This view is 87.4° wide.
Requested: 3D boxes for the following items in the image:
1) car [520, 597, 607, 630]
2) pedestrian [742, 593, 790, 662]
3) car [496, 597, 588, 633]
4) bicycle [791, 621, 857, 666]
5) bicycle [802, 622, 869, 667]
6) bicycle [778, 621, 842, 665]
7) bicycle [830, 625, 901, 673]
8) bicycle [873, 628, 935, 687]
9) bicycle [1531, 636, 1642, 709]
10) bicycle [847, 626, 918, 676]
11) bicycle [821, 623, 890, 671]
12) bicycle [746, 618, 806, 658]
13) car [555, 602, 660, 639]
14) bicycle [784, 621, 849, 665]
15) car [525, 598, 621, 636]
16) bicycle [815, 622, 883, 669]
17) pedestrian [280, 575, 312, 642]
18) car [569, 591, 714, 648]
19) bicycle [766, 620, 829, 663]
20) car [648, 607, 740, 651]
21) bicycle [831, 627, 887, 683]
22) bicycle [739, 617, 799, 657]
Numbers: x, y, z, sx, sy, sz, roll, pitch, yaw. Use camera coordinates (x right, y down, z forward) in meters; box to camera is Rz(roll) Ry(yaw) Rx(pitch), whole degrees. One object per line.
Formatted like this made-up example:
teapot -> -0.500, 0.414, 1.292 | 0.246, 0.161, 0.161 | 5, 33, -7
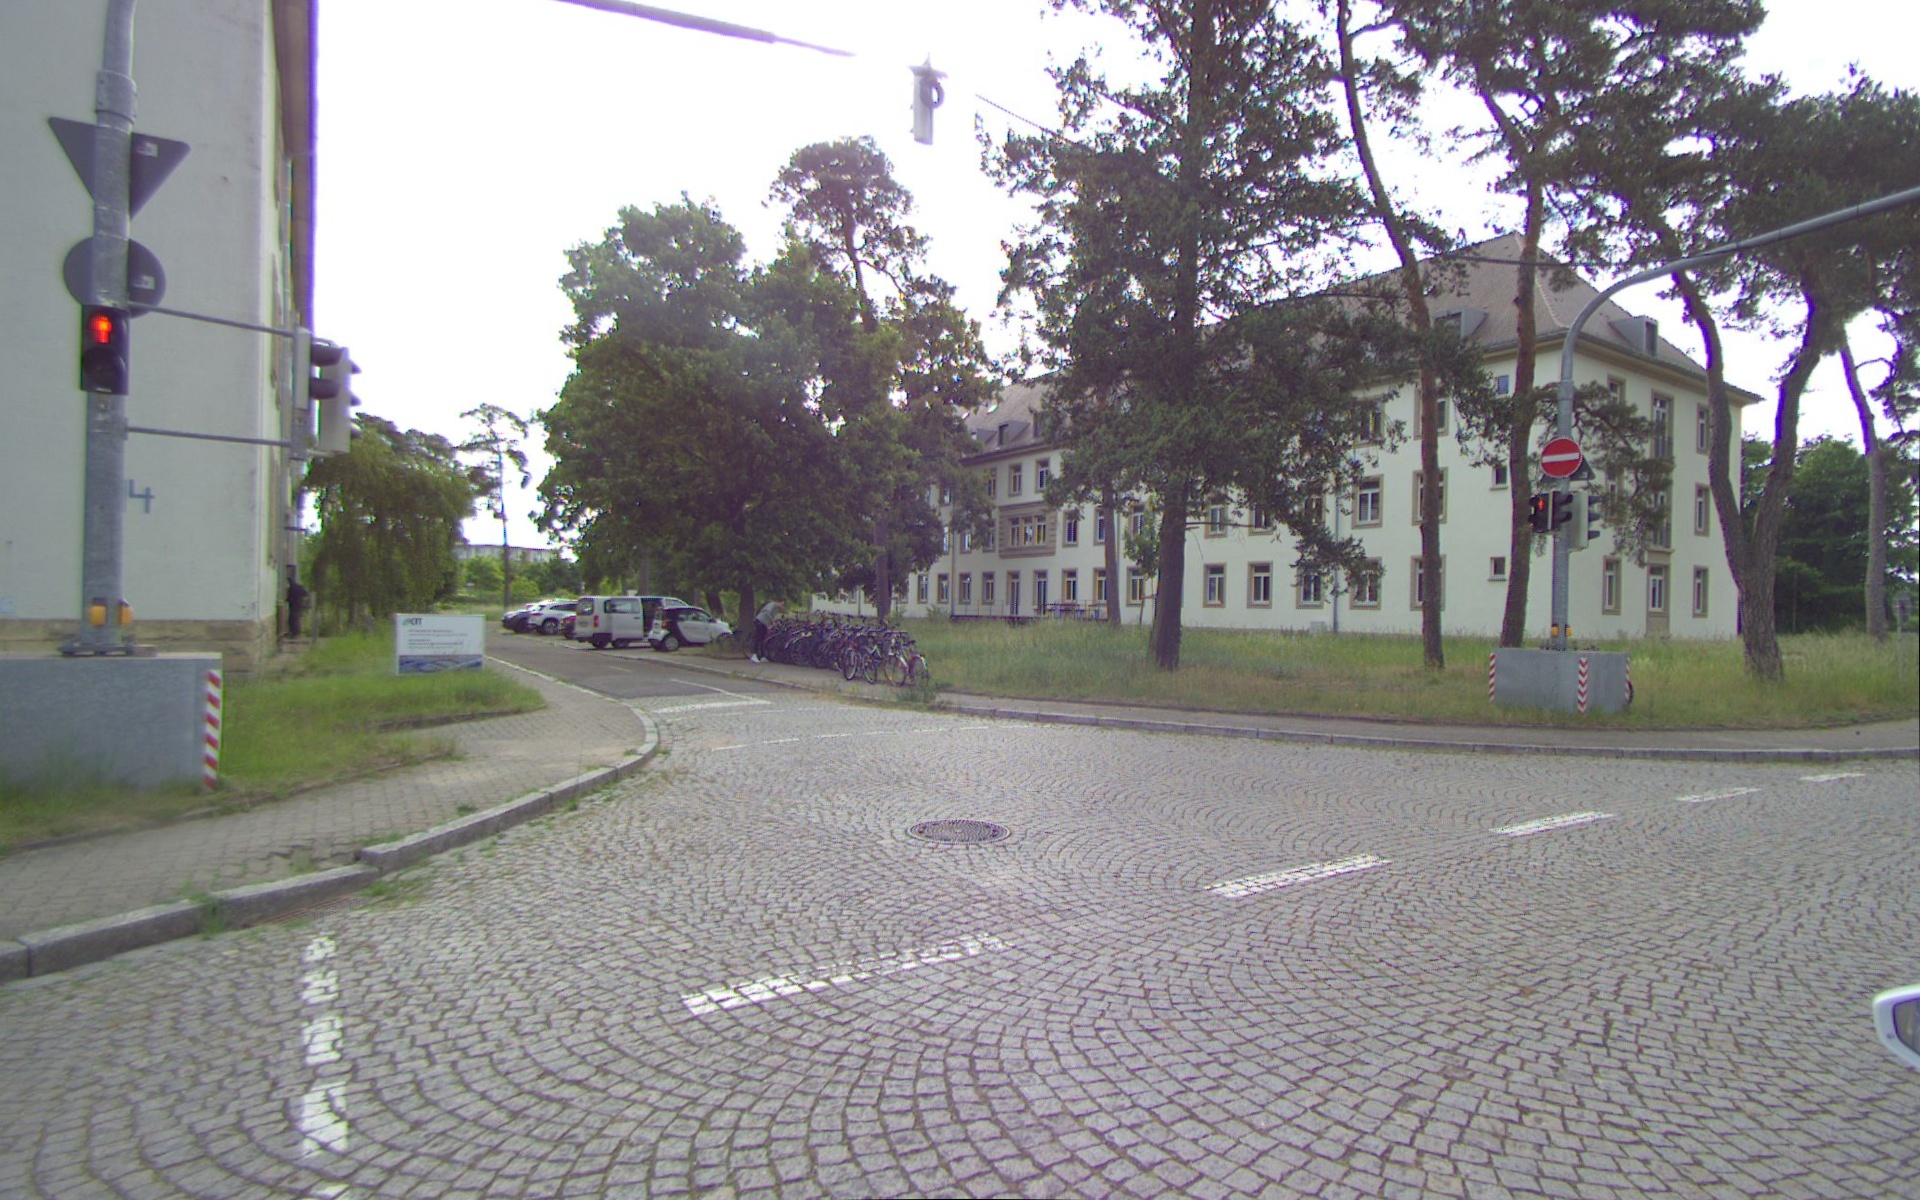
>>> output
car -> -21.714, 0.738, 55.058 | 4.056, 1.716, 1.787 | 2, 0, -37
pedestrian -> -5.161, 0.721, 26.802 | 1.136, 1.813, 1.063 | 0, 0, -5
car -> -21.446, 0.785, 51.583 | 4.056, 1.716, 1.787 | 2, 0, -37
bicycle -> -3.416, 1.097, 25.303 | 1.569, 1.093, 0.511 | 2, -1, -34
bicycle -> -3.063, 1.094, 24.792 | 1.569, 1.093, 0.511 | 2, -1, -34
bicycle -> -3.880, 1.104, 25.996 | 1.569, 1.093, 0.511 | 2, -1, -34
bicycle -> -2.189, 1.133, 23.343 | 1.567, 1.093, 0.512 | 2, -1, -31
bicycle -> -1.097, 1.109, 19.587 | 0.511, 1.079, 1.455 | 2, -1, -35
bicycle -> 10.108, 1.142, 16.253 | 0.511, 1.079, 1.455 | 0, 0, -35
bicycle -> -1.752, 1.157, 22.824 | 1.570, 1.093, 0.511 | 2, -1, -37
bicycle -> -2.493, 1.114, 23.985 | 1.569, 1.093, 0.511 | 2, -1, -34
bicycle -> -5.108, 1.057, 27.964 | 1.569, 1.093, 0.511 | 2, -1, -34
car -> -15.783, 0.911, 45.031 | 4.056, 1.547, 1.787 | 2, 0, -37
bicycle -> -3.666, 1.086, 25.677 | 1.569, 1.093, 0.511 | 2, -1, -34
car -> -19.028, 0.843, 49.466 | 4.056, 1.716, 1.787 | 2, 0, -37
bicycle -> -2.684, 1.103, 24.290 | 1.569, 1.093, 0.511 | 2, -1, -34
pedestrian -> -19.521, 0.266, 29.543 | 0.674, 1.937, 0.794 | 1, -1, -29
car -> -11.835, 0.742, 37.605 | 1.837, 1.978, 4.882 | 2, 0, 43
bicycle -> -4.310, 1.097, 26.664 | 1.569, 1.093, 0.511 | 2, -1, -34
car -> -9.311, 1.022, 35.188 | 2.759, 1.447, 1.507 | 2, 0, -34
bicycle -> -2.118, 1.130, 20.866 | 0.511, 1.093, 1.455 | 2, -1, -35
bicycle -> -5.386, 1.042, 28.378 | 1.569, 1.093, 0.511 | 2, -1, -34
